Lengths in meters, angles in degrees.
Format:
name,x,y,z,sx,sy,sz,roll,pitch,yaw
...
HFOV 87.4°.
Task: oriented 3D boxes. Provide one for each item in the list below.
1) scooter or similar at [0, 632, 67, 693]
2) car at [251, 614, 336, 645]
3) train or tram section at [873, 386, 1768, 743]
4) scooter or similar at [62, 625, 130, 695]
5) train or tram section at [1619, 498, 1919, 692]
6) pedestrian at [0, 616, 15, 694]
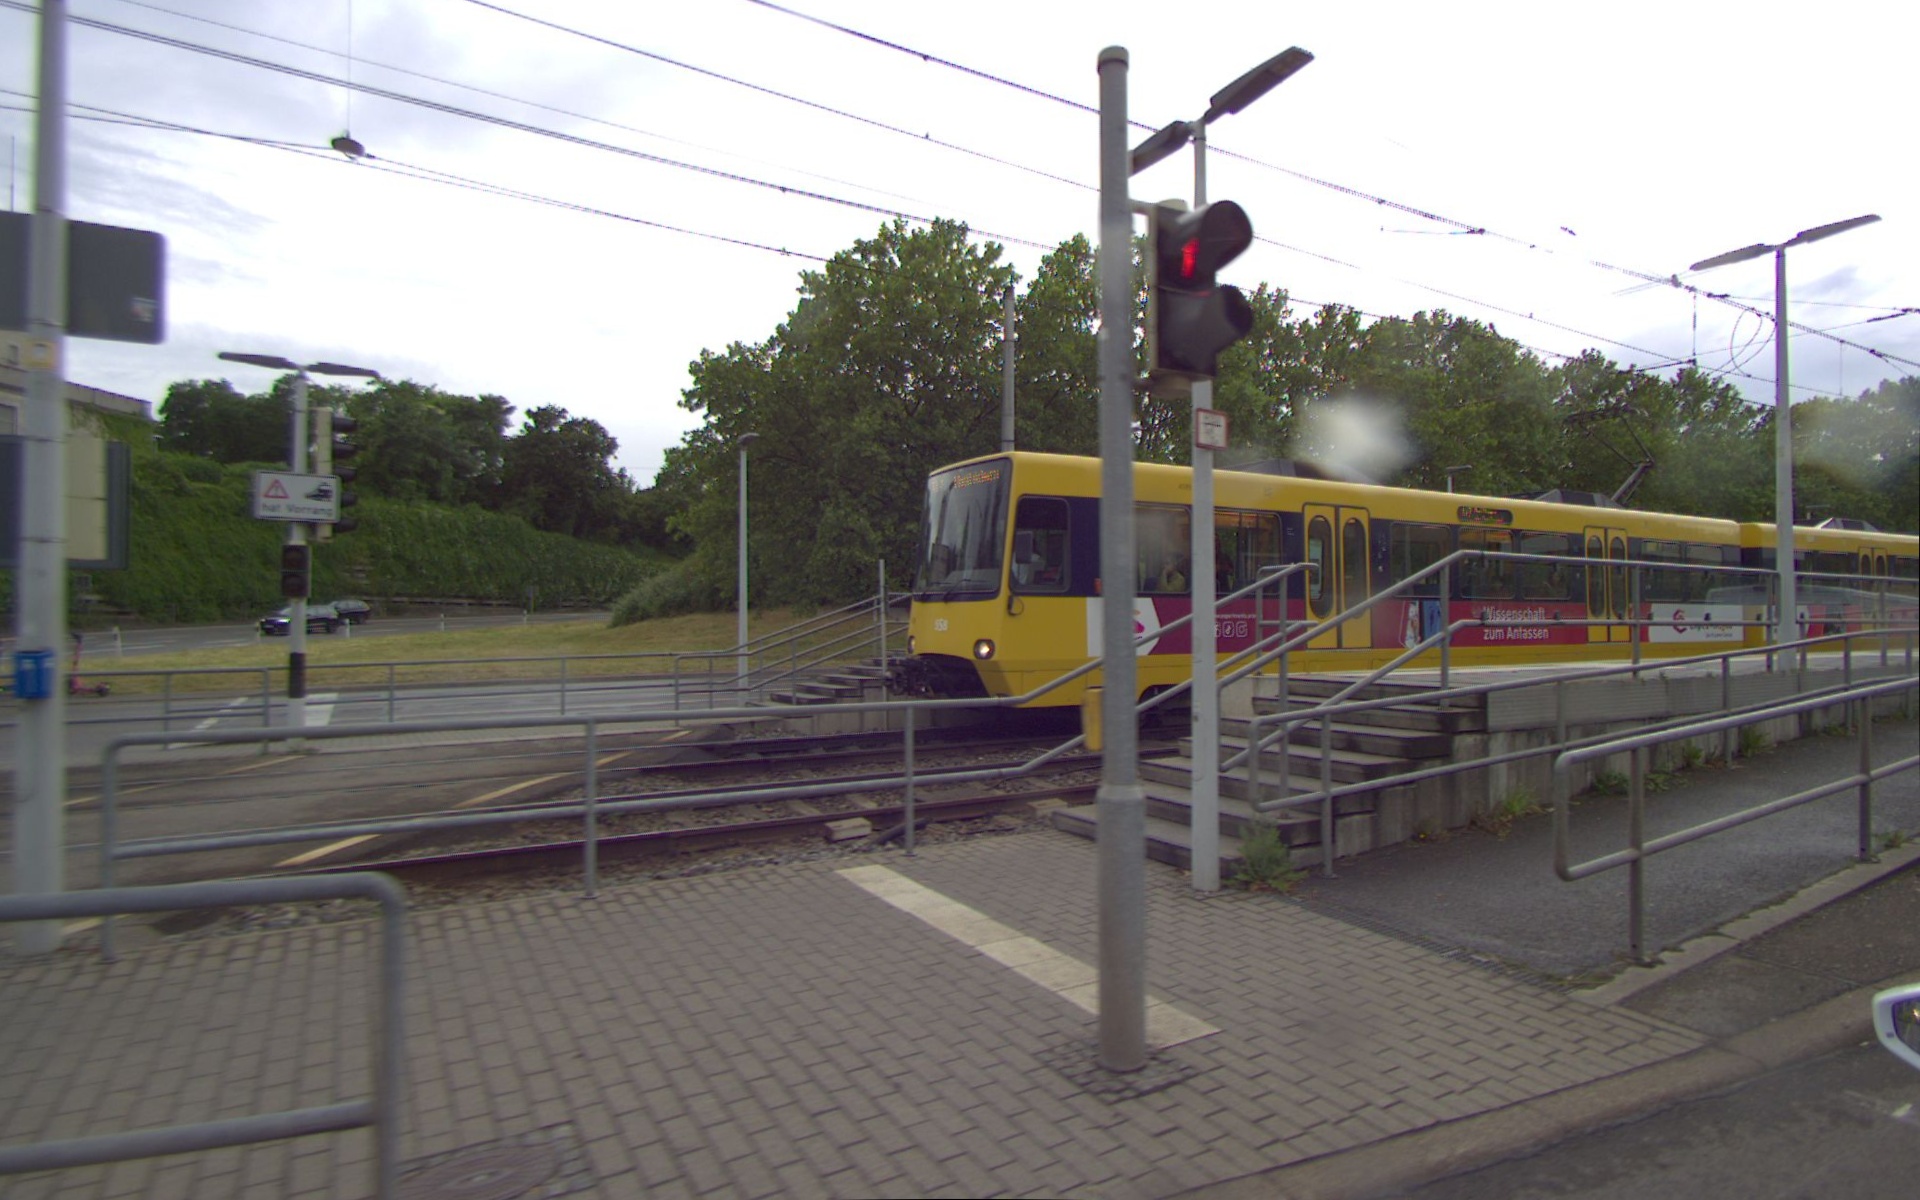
name,x,y,z,sx,sy,sz,roll,pitch,yaw
scooter or similar,-18.884,1.250,20.340,0.374,1.188,1.141,-1,-1,28
car,-36.832,1.613,55.616,3.853,1.595,1.877,0,-1,-33
train or tram section,7.797,-0.261,17.364,19.101,4.026,2.854,1,1,-30
scooter or similar,-17.335,1.192,20.156,1.190,1.382,0.411,-1,-1,14
train or tram section,24.421,0.035,26.527,19.087,4.007,2.856,1,1,-28
pedestrian,-19.110,1.092,19.999,0.350,1.540,0.347,1,1,-29
